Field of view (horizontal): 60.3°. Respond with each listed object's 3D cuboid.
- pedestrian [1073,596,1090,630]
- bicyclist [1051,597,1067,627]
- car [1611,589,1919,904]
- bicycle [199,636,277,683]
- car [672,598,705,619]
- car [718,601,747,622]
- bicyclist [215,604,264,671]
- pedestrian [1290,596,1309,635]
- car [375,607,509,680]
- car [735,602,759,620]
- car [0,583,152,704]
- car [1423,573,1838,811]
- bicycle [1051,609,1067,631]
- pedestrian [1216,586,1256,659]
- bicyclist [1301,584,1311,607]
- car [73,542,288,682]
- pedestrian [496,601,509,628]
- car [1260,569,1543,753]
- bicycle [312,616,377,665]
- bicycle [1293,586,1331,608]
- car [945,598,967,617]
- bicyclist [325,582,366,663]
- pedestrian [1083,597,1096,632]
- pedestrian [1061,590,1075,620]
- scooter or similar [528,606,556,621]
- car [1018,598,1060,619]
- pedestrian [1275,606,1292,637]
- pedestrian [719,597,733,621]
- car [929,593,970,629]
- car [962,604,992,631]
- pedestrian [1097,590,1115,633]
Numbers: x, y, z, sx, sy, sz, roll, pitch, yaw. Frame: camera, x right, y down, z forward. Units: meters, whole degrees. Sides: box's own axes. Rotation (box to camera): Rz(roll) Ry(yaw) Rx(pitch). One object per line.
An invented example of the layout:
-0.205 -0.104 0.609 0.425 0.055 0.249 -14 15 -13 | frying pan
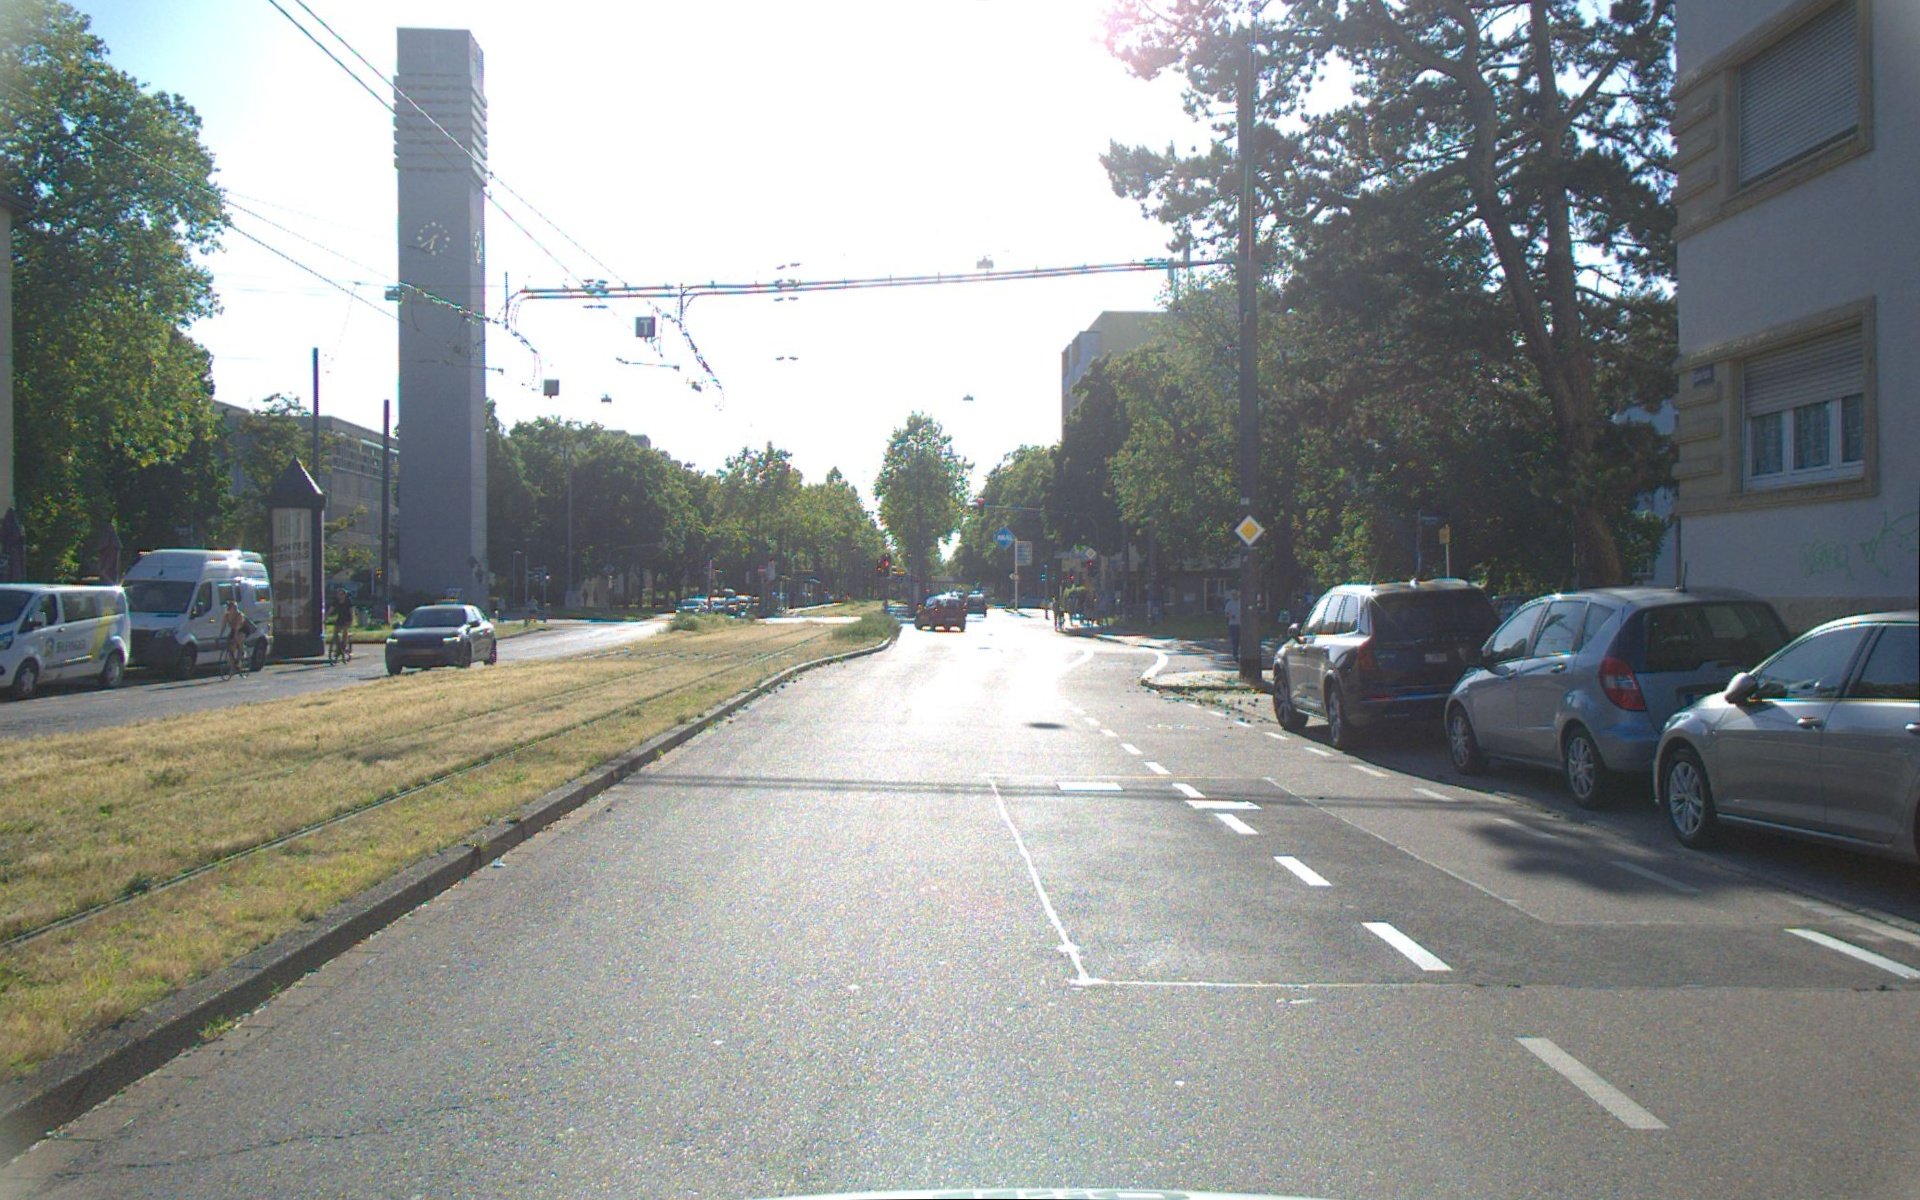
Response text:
6.249 0.679 85.116 0.714 1.711 0.533 2 0 11 | pedestrian
4.561 0.561 76.160 0.625 1.346 0.803 2 0 1 | bicyclist
5.303 0.704 9.130 1.480 1.504 4.235 -2 0 -4 | car
-15.420 1.261 35.372 0.753 0.895 2.068 -2 0 -1 | bicycle
-20.104 0.631 122.666 1.770 1.560 4.360 0 0 -1 | car
-16.968 0.846 123.384 1.653 1.560 4.360 0 0 -1 | car
-15.415 0.797 35.406 0.757 1.408 0.648 -1 0 -1 | bicyclist
11.040 0.519 53.715 0.395 1.247 0.760 2 0 25 | pedestrian
-11.448 0.922 36.817 1.660 1.473 4.216 -2 0 0 | car
-17.944 0.953 139.649 1.534 1.426 3.914 2 0 -1 | car
-17.656 0.740 31.361 1.991 2.056 5.370 2 0 0 | car
5.269 0.650 13.583 1.562 1.606 3.893 -2 0 -4 | car
4.556 0.905 76.223 0.634 0.989 1.804 2 0 2 | bicycle
6.732 0.539 40.371 0.862 1.752 0.725 -1 0 4 | pedestrian
23.665 -0.308 113.193 0.516 1.594 0.464 2 0 -4 | bicyclist
-17.809 0.258 38.211 1.991 2.919 6.227 1 0 0 | car
-28.951 0.905 104.695 0.433 1.695 0.747 2 0 8 | pedestrian
4.885 0.614 19.100 1.841 1.746 4.933 -3 0 0 | car
-15.844 1.035 42.651 0.753 1.166 2.474 -2 0 -1 | bicycle
24.225 -0.200 113.765 2.421 1.424 0.608 2 0 -3 | bicycle
-0.378 0.713 152.537 1.856 1.639 4.498 2 0 -2 | car
-15.861 0.566 42.713 0.757 2.049 0.648 2 0 -1 | bicyclist
5.738 0.645 73.180 0.518 1.555 0.628 -2 -1 4 | pedestrian
5.552 0.253 85.036 0.633 1.549 0.496 2 0 11 | pedestrian
-26.685 0.875 105.632 1.707 0.915 0.561 0 0 -17 | scooter or similar
7.918 0.831 165.452 3.902 1.892 2.013 2 0 10 | car
10.517 0.696 53.789 0.395 0.950 0.622 2 2 25 | pedestrian
-16.286 0.617 115.150 0.873 1.634 0.613 2 0 -1 | pedestrian
-0.497 0.468 74.791 1.661 1.534 3.696 2 0 -3 | car
1.220 1.263 120.510 1.929 1.892 3.998 2 0 -3 | car
6.432 0.505 73.026 0.688 1.821 0.694 -3 1 4 | pedestrian
